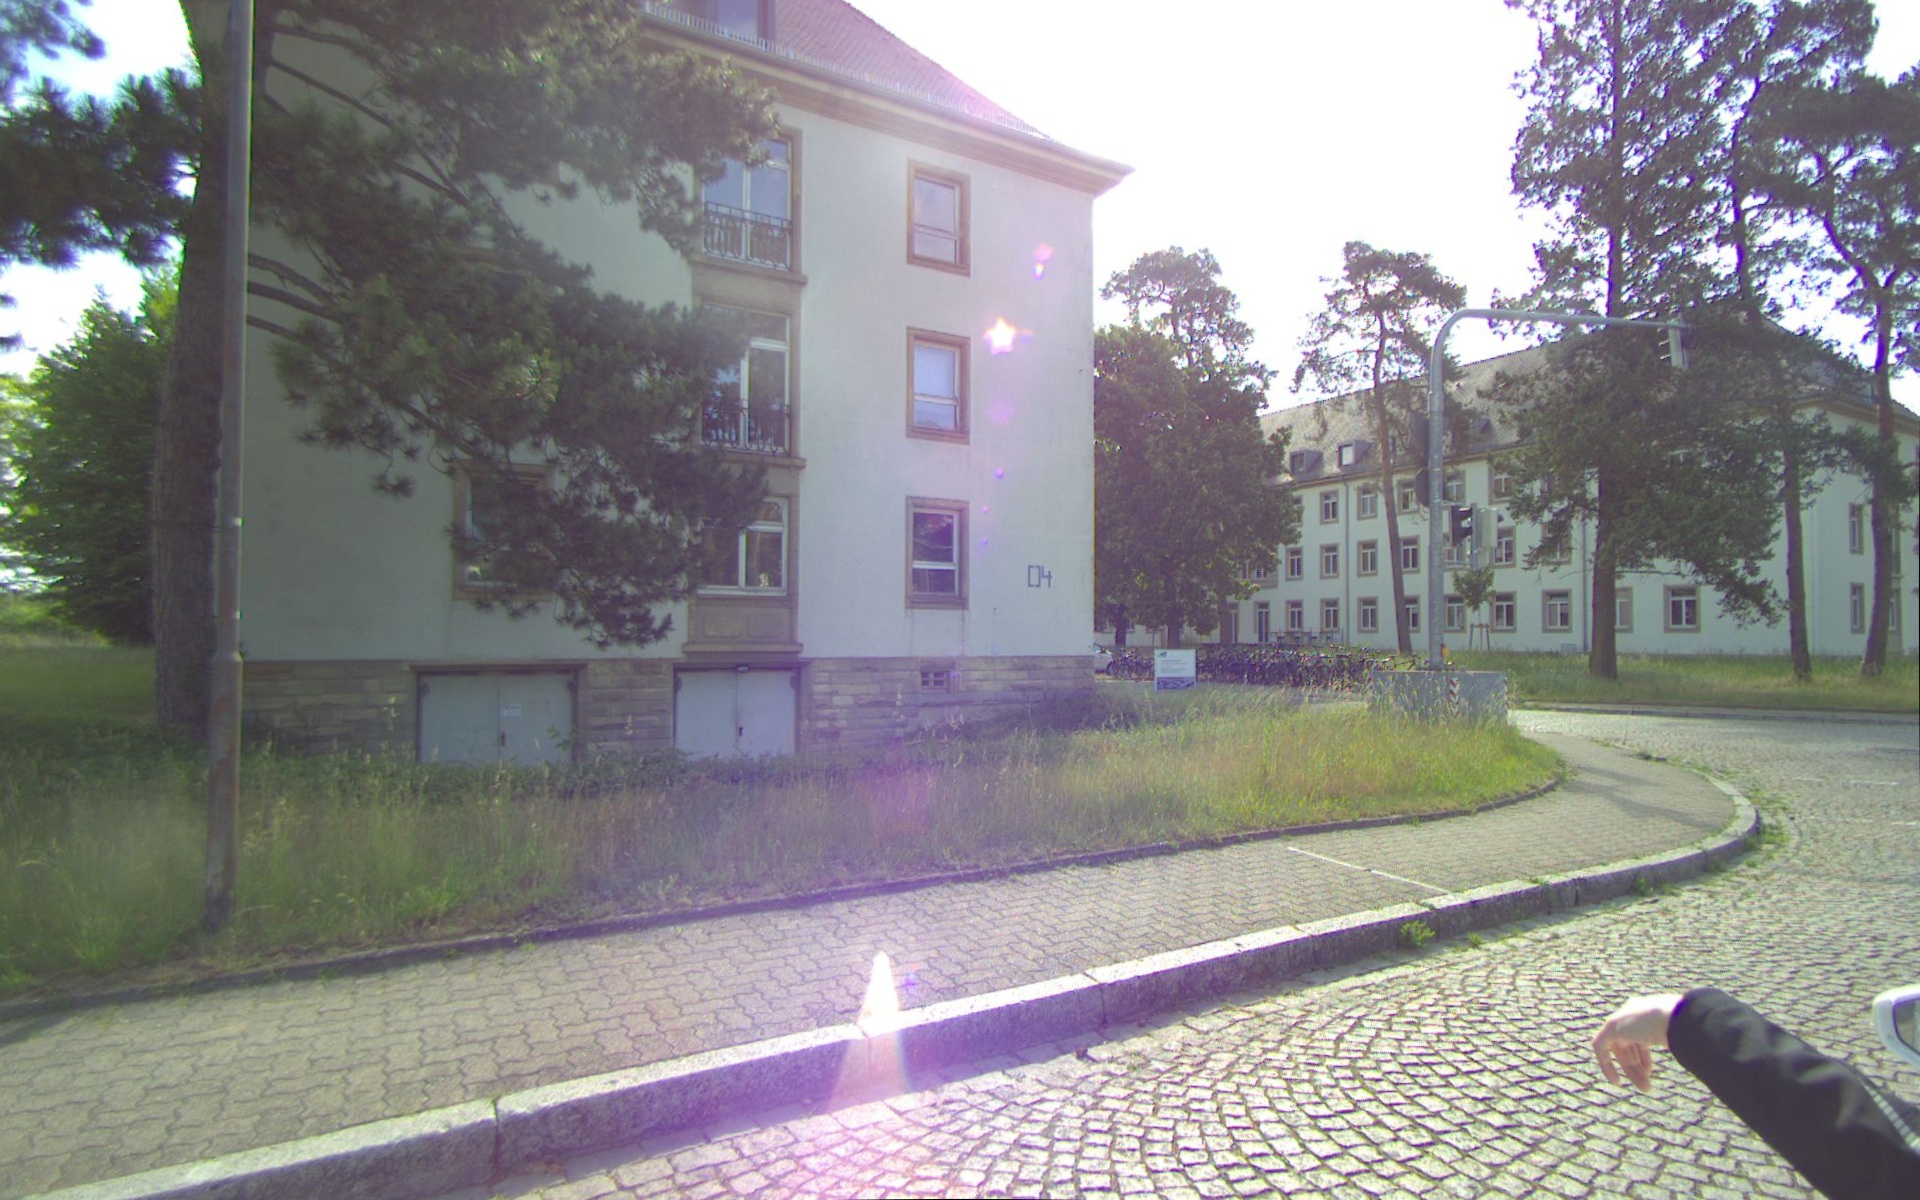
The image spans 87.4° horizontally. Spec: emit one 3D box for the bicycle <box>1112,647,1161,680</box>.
[{"bbox_3d":[6.686,2.392,38.000,1.792,1.236,0.516,0,-2,6],"label":"bicycle"}]

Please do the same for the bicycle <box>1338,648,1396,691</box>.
[{"bbox_3d":[12.213,2.066,30.121,1.967,1.236,0.569,1,-2,-31],"label":"bicycle"}]

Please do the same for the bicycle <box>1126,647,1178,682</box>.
[{"bbox_3d":[6.964,2.328,36.402,1.794,1.236,0.515,-1,-2,24],"label":"bicycle"}]

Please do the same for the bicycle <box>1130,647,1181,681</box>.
[{"bbox_3d":[7.194,2.337,37.009,1.794,1.236,0.515,-1,-2,24],"label":"bicycle"}]

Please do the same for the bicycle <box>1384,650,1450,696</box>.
[{"bbox_3d":[12.859,2.034,28.243,2.090,1.236,0.630,1,-2,-31],"label":"bicycle"}]

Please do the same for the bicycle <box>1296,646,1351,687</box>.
[{"bbox_3d":[11.532,2.093,31.850,1.992,1.236,0.511,1,-2,-31],"label":"bicycle"}]

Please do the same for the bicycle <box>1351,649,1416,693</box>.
[{"bbox_3d":[12.315,2.048,29.183,2.080,1.236,0.630,1,-2,-31],"label":"bicycle"}]

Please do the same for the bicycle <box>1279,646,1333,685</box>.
[{"bbox_3d":[11.169,2.099,32.386,1.954,1.236,0.511,1,-2,-31],"label":"bicycle"}]

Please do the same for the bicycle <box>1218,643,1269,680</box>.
[{"bbox_3d":[9.813,2.124,34.760,1.915,1.236,0.511,1,-2,-31],"label":"bicycle"}]

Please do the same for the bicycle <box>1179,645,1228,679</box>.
[{"bbox_3d":[8.837,2.238,36.444,1.915,1.236,0.511,1,-2,-31],"label":"bicycle"}]

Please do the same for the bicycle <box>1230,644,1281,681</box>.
[{"bbox_3d":[10.093,2.117,34.238,1.915,1.236,0.511,1,-2,-31],"label":"bicycle"}]

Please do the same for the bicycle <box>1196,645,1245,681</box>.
[{"bbox_3d":[9.269,2.228,35.682,1.915,1.236,0.511,1,-2,-31],"label":"bicycle"}]

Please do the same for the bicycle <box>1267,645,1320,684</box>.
[{"bbox_3d":[10.905,2.101,32.831,1.954,1.236,0.511,1,-2,-31],"label":"bicycle"}]

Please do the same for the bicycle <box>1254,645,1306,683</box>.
[{"bbox_3d":[10.615,2.104,33.268,1.932,1.236,0.511,1,-2,-31],"label":"bicycle"}]

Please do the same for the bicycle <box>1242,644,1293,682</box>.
[{"bbox_3d":[10.347,2.110,33.754,1.915,1.236,0.511,1,-2,-31],"label":"bicycle"}]

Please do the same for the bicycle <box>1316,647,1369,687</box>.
[{"bbox_3d":[12.020,2.093,31.548,1.878,1.236,0.545,1,-2,-31],"label":"bicycle"}]

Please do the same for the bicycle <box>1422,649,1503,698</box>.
[{"bbox_3d":[13.500,1.952,27.044,0.627,1.236,1.935,1,-2,-30],"label":"bicycle"}]

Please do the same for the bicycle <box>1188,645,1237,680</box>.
[{"bbox_3d":[9.055,2.233,36.053,1.915,1.236,0.511,1,-2,-31],"label":"bicycle"}]

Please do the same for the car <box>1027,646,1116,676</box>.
[{"bbox_3d":[4.737,2.558,42.639,3.550,1.227,1.504,1,-3,-29],"label":"car"}]

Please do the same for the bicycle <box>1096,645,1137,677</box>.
[{"bbox_3d":[6.242,2.419,40.015,1.813,1.236,0.510,2,-3,-39],"label":"bicycle"}]

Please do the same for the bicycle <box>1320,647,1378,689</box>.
[{"bbox_3d":[11.949,2.079,30.835,2.006,1.236,0.576,1,-2,-31],"label":"bicycle"}]

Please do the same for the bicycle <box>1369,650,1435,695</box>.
[{"bbox_3d":[12.610,2.041,28.657,2.100,1.236,0.630,1,-2,-31],"label":"bicycle"}]

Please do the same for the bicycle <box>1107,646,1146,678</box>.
[{"bbox_3d":[6.559,2.412,39.500,1.815,1.236,0.509,2,-3,-42],"label":"bicycle"}]

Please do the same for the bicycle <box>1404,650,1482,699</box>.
[{"bbox_3d":[12.846,1.958,26.765,0.627,1.236,1.853,1,-2,-30],"label":"bicycle"}]

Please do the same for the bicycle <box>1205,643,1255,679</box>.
[{"bbox_3d":[9.499,2.130,35.282,1.915,1.236,0.511,1,-2,-31],"label":"bicycle"}]
